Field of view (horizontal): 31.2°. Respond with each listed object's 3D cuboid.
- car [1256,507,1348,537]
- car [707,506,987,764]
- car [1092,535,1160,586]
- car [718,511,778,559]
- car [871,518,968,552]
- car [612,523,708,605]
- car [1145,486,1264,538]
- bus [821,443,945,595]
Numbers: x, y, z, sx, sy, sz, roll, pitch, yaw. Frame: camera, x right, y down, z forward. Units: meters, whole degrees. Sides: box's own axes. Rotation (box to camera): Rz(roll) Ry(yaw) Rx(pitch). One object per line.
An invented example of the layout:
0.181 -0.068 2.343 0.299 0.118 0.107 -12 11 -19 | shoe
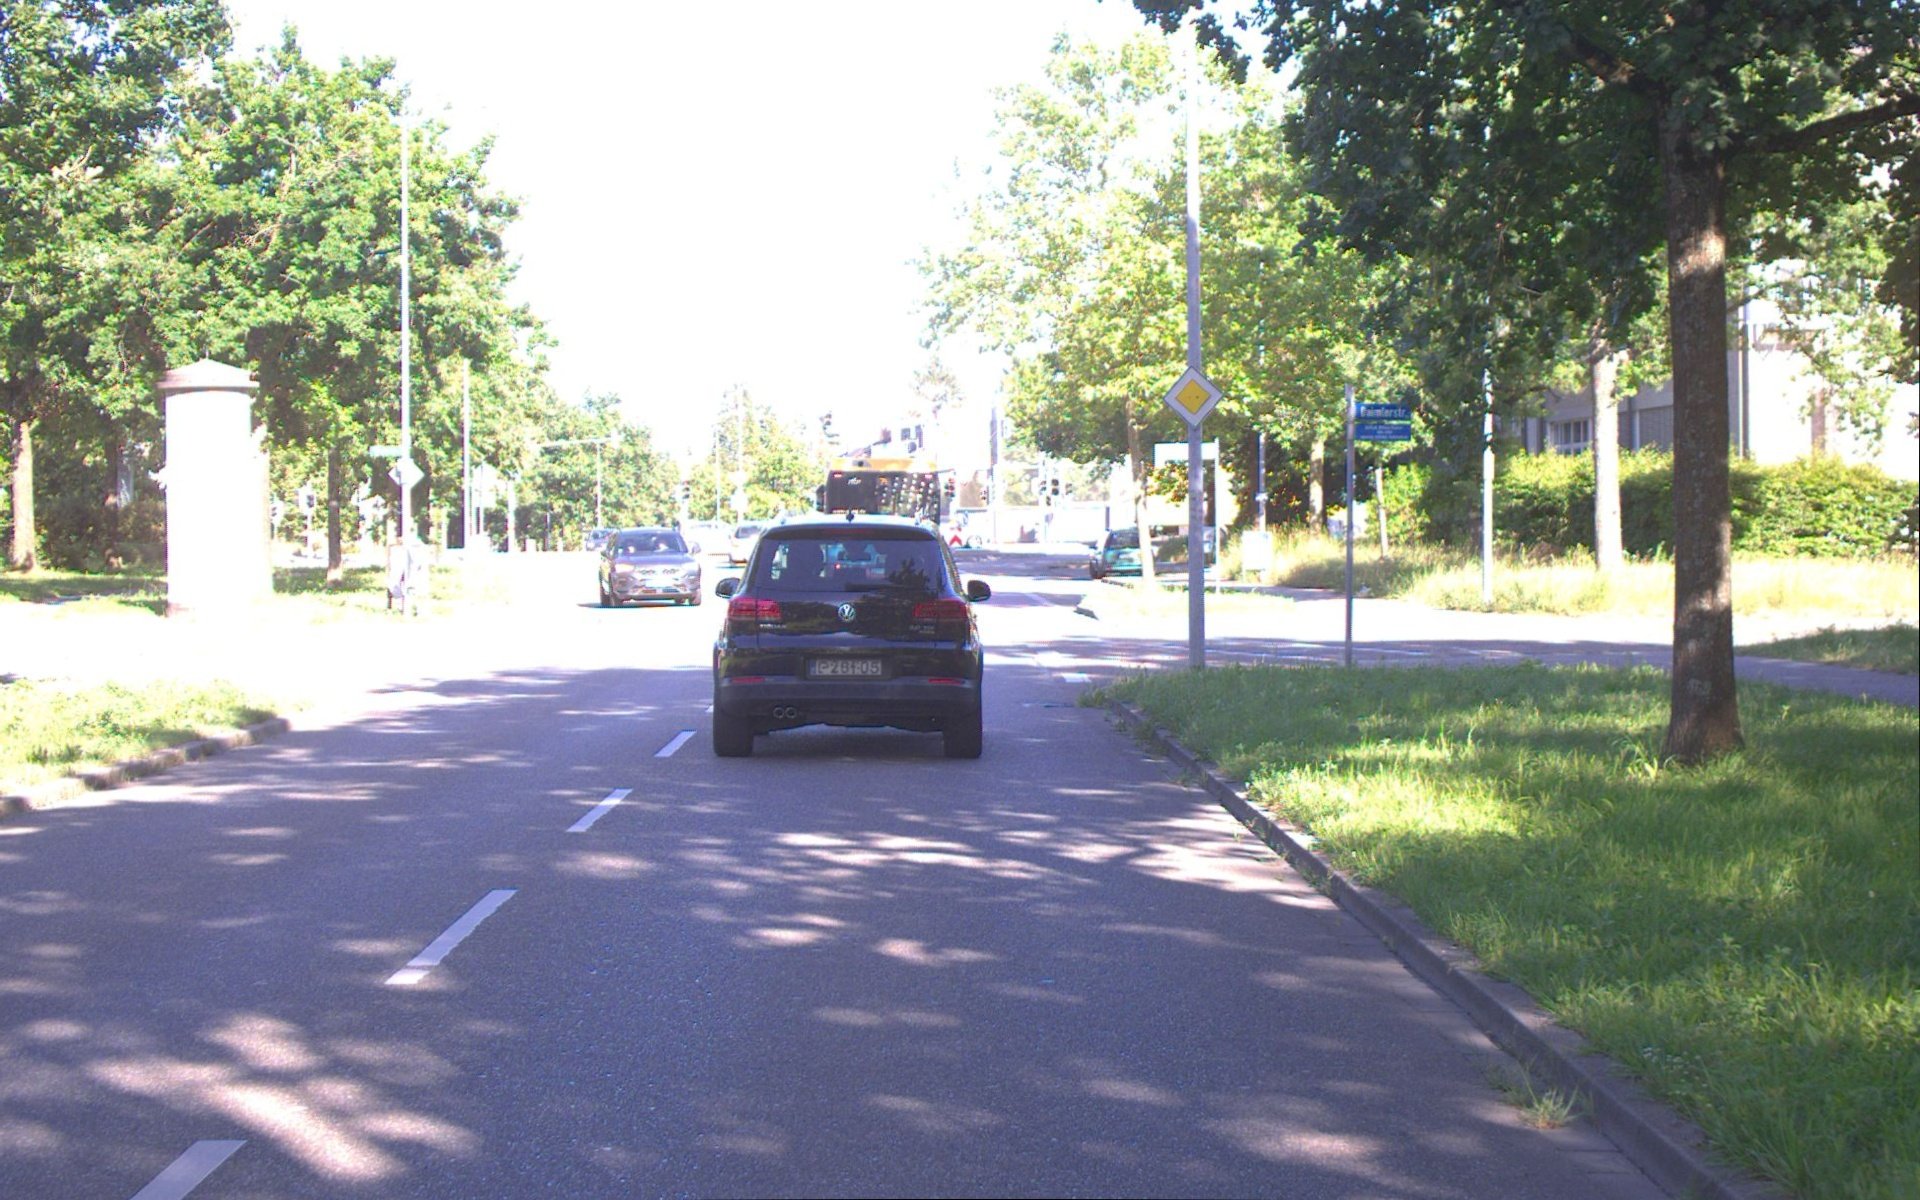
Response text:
15.842 -3.600 159.130 3.891 1.335 1.683 1 1 -11 | car
-0.768 0.210 24.633 1.821 1.668 4.003 1 1 -1 | car
4.816 -1.159 100.112 1.592 1.424 4.204 -2 1 -2 | car
-7.304 -2.224 118.159 1.753 1.615 4.034 -1 1 -8 | car
-1.528 -2.476 130.597 3.523 1.297 1.574 0 1 6 | car
-6.058 -0.738 69.820 1.753 1.590 4.299 1 1 -3 | car
10.232 -3.697 144.007 4.700 2.116 1.943 -1 1 -6 | car
-1.955 -1.951 82.120 2.596 3.323 11.985 1 1 -3 | bus
